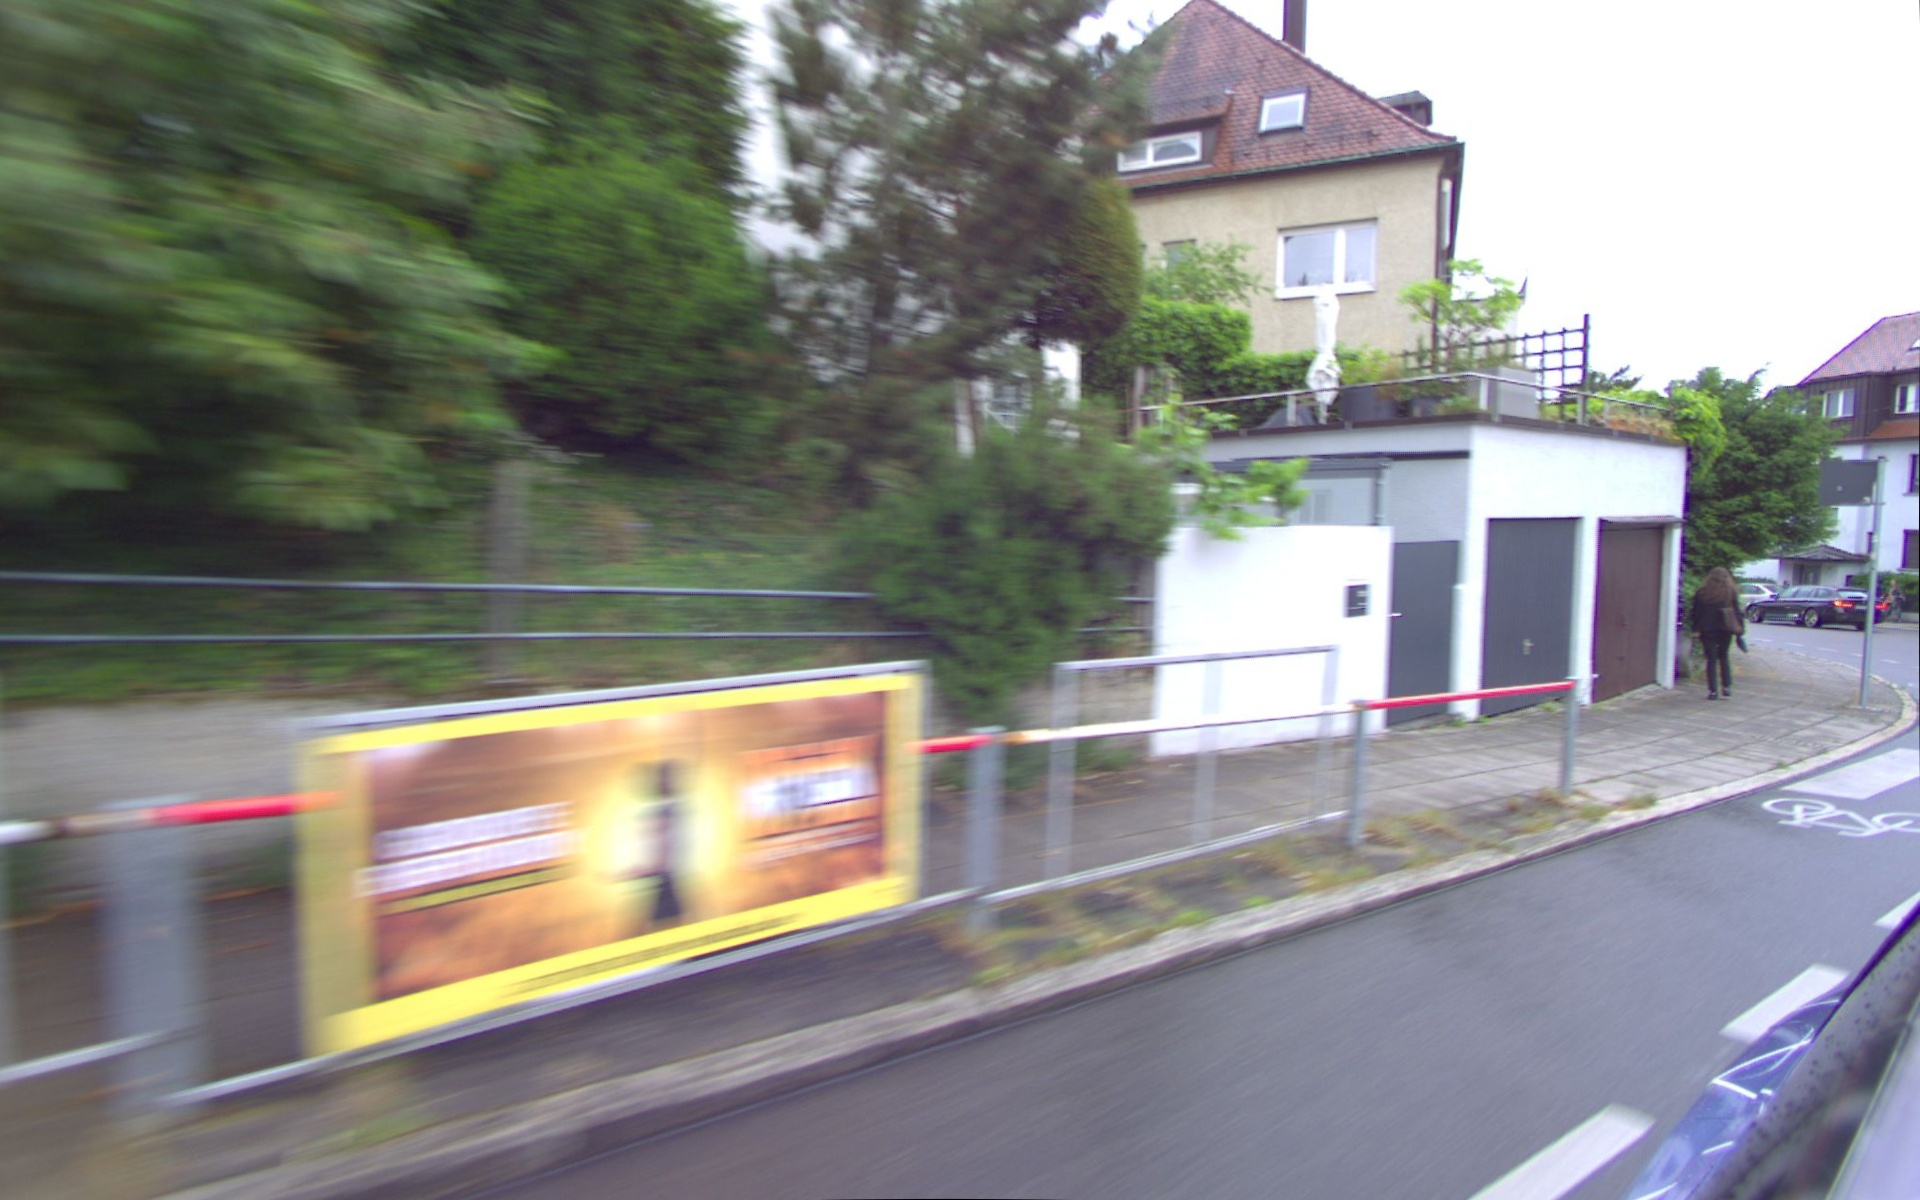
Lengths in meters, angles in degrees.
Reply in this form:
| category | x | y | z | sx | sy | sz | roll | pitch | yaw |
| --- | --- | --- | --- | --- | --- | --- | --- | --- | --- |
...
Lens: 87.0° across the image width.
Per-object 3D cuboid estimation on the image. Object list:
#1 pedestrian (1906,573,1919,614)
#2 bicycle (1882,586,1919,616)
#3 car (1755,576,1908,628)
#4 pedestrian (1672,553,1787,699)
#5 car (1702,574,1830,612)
| category | x | y | z | sx | sy | sz | roll | pitch | yaw |
| --- | --- | --- | --- | --- | --- | --- | --- | --- | --- |
| pedestrian | 37.620 | -0.261 | 39.515 | 0.928 | 1.596 | 0.495 | -2 | 2 | -6 |
| bicycle | 36.978 | 0.040 | 39.260 | 0.448 | 1.080 | 1.925 | -2 | 2 | -7 |
| car | 30.491 | 0.006 | 35.636 | 1.846 | 1.509 | 4.626 | 4 | 3 | 10 |
| pedestrian | 9.810 | 0.298 | 12.906 | 1.040 | 1.742 | 0.806 | 0 | 5 | -37 |
| car | 33.918 | -0.327 | 42.742 | 1.805 | 1.443 | 4.234 | 0 | 2 | -4 |
